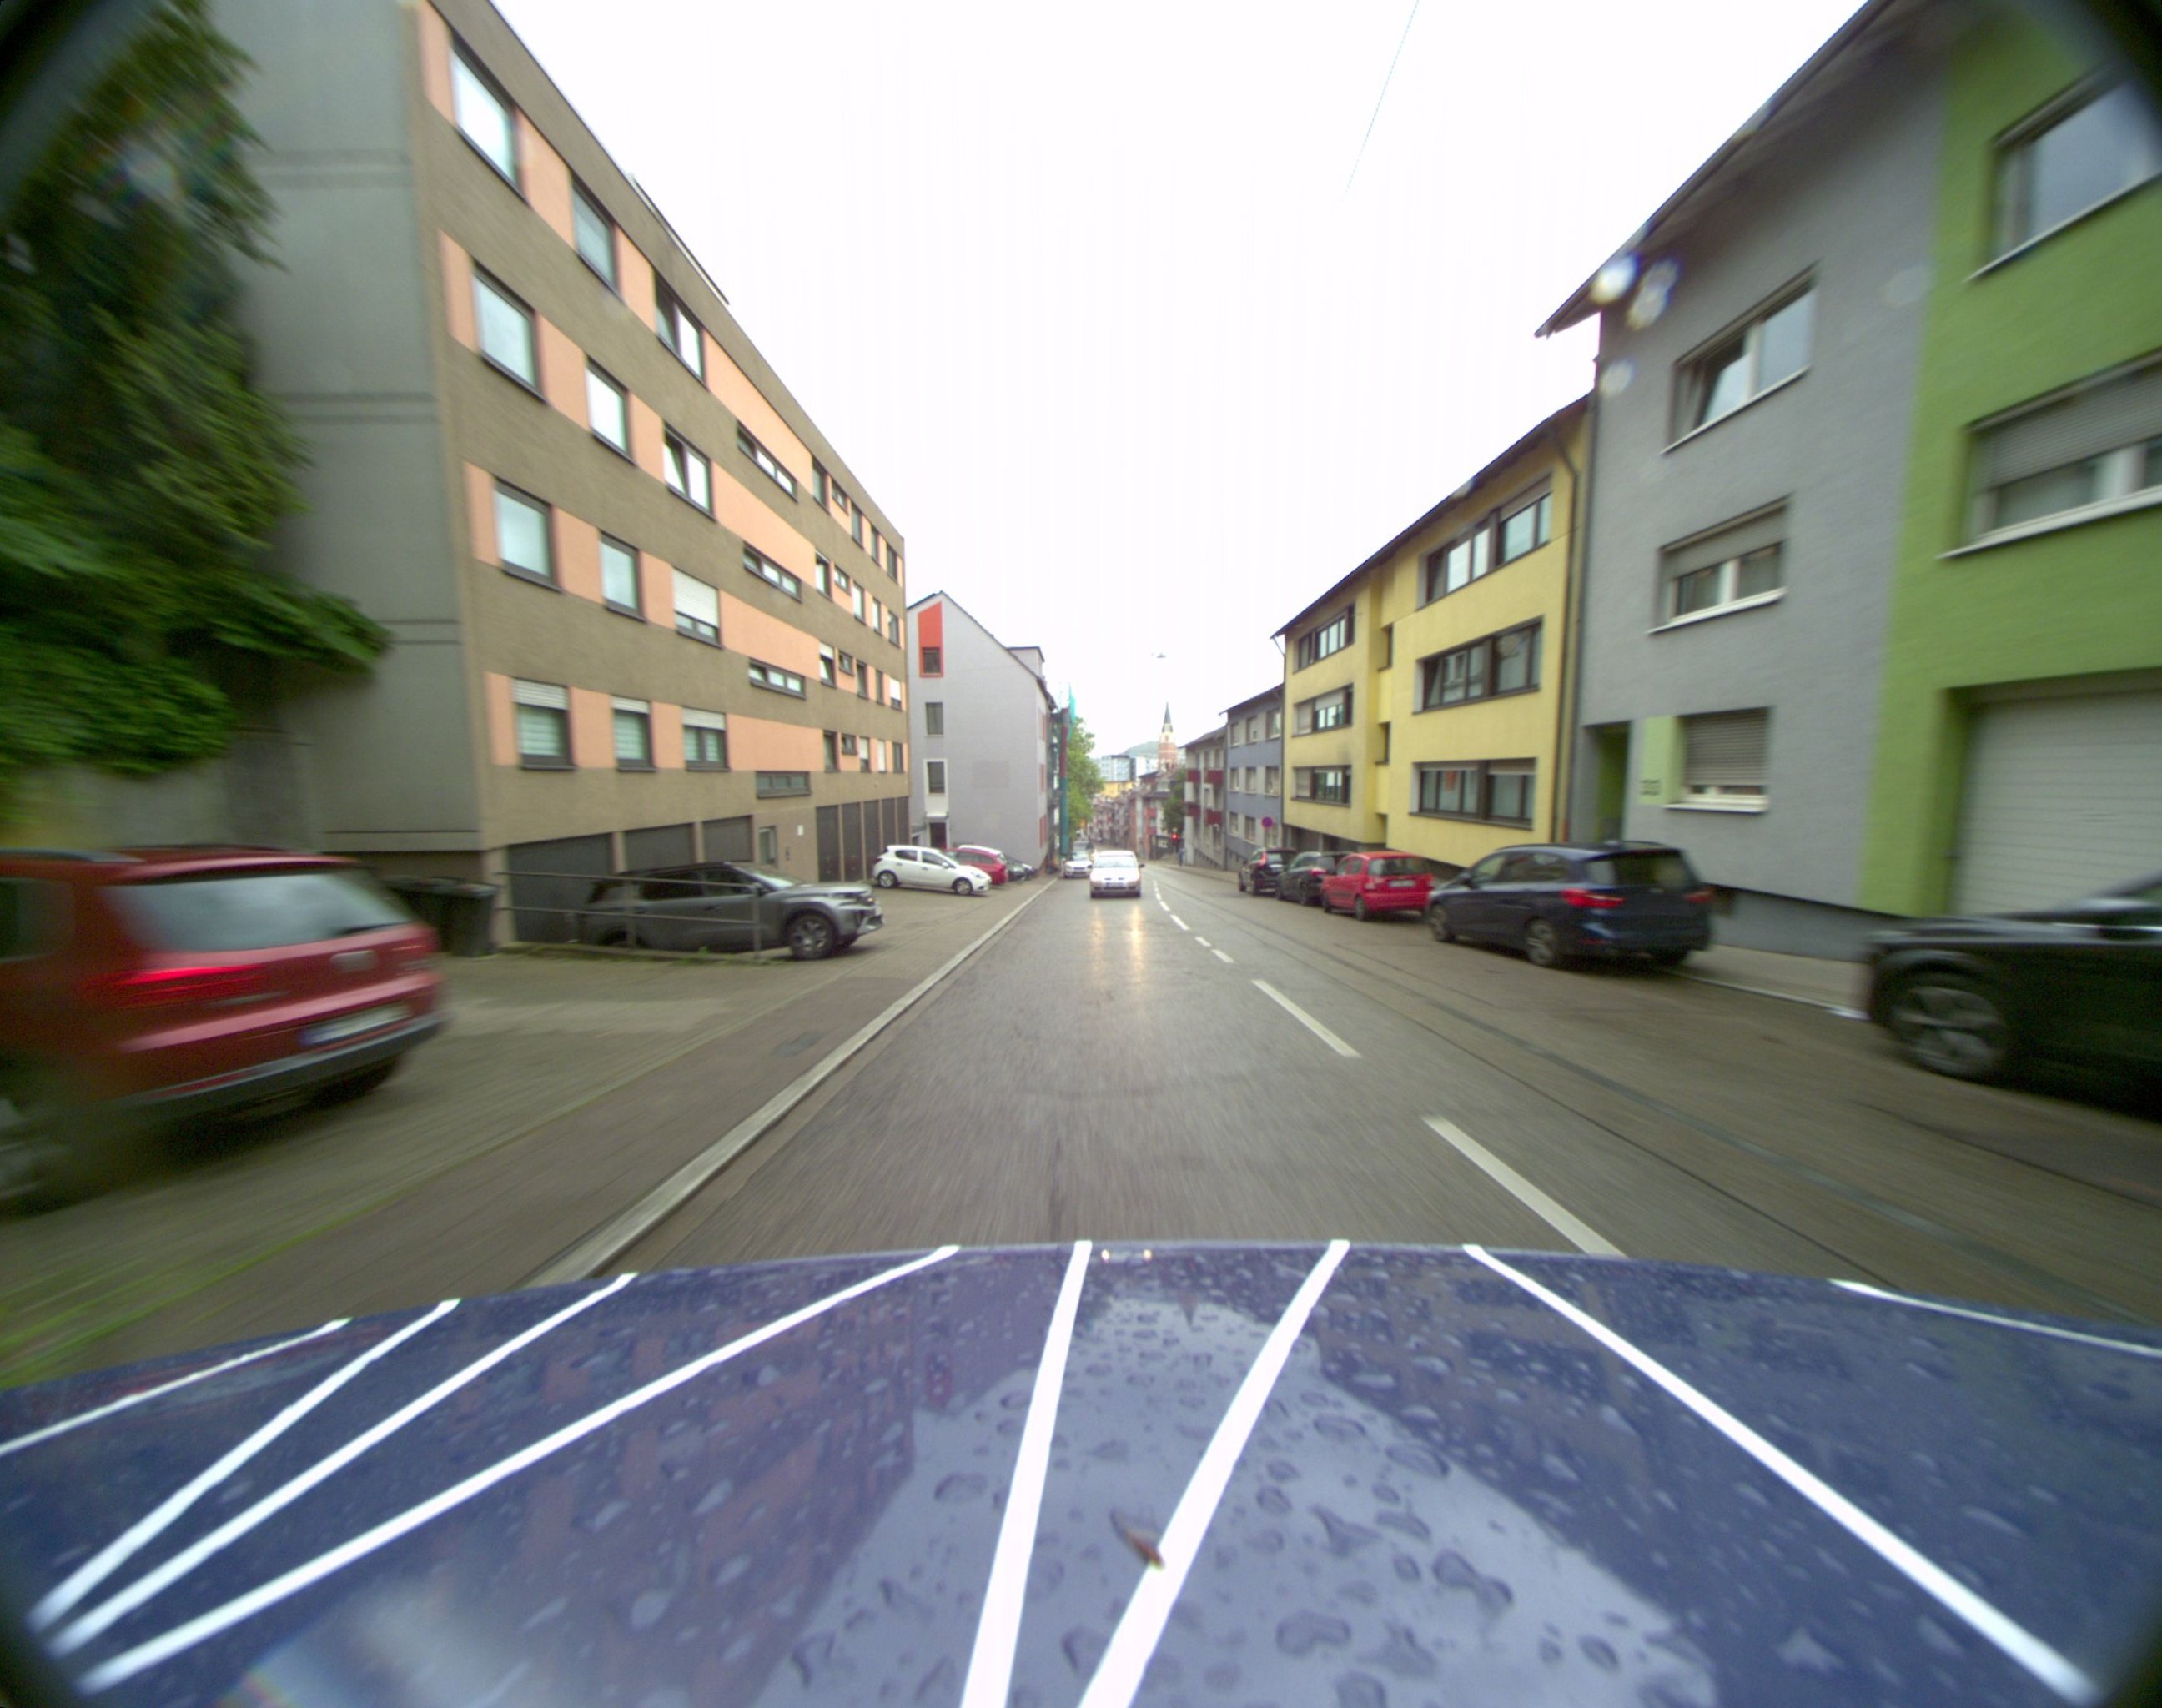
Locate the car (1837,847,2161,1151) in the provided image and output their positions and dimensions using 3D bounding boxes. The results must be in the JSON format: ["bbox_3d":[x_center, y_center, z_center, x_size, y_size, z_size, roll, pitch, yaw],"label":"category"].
[{"bbox_3d":[6.539,0.754,3.477,1.858,1.576,4.304,0,0,0],"label":"car"}]

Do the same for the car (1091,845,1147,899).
[{"bbox_3d":[1.253,0.554,26.379,1.720,1.528,3.998,-2,3,0],"label":"car"}]

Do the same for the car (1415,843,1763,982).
[{"bbox_3d":[6.789,0.657,10.922,1.999,1.576,4.471,0,0,0],"label":"car"}]

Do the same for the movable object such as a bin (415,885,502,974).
[{"bbox_3d":[-7.962,0.952,9.739,0.603,1.055,0.509,-2,3,-2],"label":"movable object such as a bin"}]

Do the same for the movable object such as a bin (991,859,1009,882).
[{"bbox_3d":[-3.788,0.751,35.506,0.724,1.015,0.771,-2,3,0],"label":"movable object such as a bin"}]

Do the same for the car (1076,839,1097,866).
[{"bbox_3d":[0.595,-0.226,77.532,1.998,2.401,5.833,-2,3,1],"label":"car"}]

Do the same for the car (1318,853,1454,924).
[{"bbox_3d":[6.890,0.708,17.547,1.733,1.464,3.490,0,0,0],"label":"car"}]

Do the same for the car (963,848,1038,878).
[{"bbox_3d":[-4.280,0.453,40.761,3.812,1.541,1.660,0,1,-1],"label":"car"}]

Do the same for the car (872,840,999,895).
[{"bbox_3d":[-4.948,0.459,26.249,3.973,1.521,1.692,5,1,-3],"label":"car"}]

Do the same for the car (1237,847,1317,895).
[{"bbox_3d":[7.026,0.559,27.754,1.998,1.640,4.442,0,0,3],"label":"car"}]

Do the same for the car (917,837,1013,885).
[{"bbox_3d":[-5.077,0.285,33.651,3.836,1.692,1.728,6,1,-1],"label":"car"}]

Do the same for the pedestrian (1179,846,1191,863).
[{"bbox_3d":[9.271,0.037,67.586,0.871,1.533,1.087,-2,2,-1],"label":"pedestrian"}]

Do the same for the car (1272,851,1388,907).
[{"bbox_3d":[7.182,0.659,22.434,1.999,1.464,4.347,0,0,0],"label":"car"}]

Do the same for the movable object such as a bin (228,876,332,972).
[{"bbox_3d":[-9.589,0.824,9.121,0.508,1.055,0.603,-2,3,1],"label":"movable object such as a bin"}]

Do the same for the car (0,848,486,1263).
[{"bbox_3d":[-6.033,0.942,4.012,4.209,1.725,1.759,-3,1,-3],"label":"car"}]

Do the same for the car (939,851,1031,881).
[{"bbox_3d":[-4.657,0.569,37.307,4.279,1.458,1.893,0,1,-1],"label":"car"}]

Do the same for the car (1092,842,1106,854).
[{"bbox_3d":[2.318,-0.760,96.800,1.637,1.521,4.000,-2,1,2],"label":"car"}]

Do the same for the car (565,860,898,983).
[{"bbox_3d":[-5.161,0.956,11.669,4.209,1.487,1.759,-3,1,-1],"label":"car"}]

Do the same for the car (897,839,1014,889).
[{"bbox_3d":[-5.075,0.386,31.142,4.352,1.521,1.876,6,1,0],"label":"car"}]

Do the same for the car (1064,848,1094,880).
[{"bbox_3d":[-0.133,0.556,45.052,1.644,1.752,4.000,-2,0,0],"label":"car"}]
